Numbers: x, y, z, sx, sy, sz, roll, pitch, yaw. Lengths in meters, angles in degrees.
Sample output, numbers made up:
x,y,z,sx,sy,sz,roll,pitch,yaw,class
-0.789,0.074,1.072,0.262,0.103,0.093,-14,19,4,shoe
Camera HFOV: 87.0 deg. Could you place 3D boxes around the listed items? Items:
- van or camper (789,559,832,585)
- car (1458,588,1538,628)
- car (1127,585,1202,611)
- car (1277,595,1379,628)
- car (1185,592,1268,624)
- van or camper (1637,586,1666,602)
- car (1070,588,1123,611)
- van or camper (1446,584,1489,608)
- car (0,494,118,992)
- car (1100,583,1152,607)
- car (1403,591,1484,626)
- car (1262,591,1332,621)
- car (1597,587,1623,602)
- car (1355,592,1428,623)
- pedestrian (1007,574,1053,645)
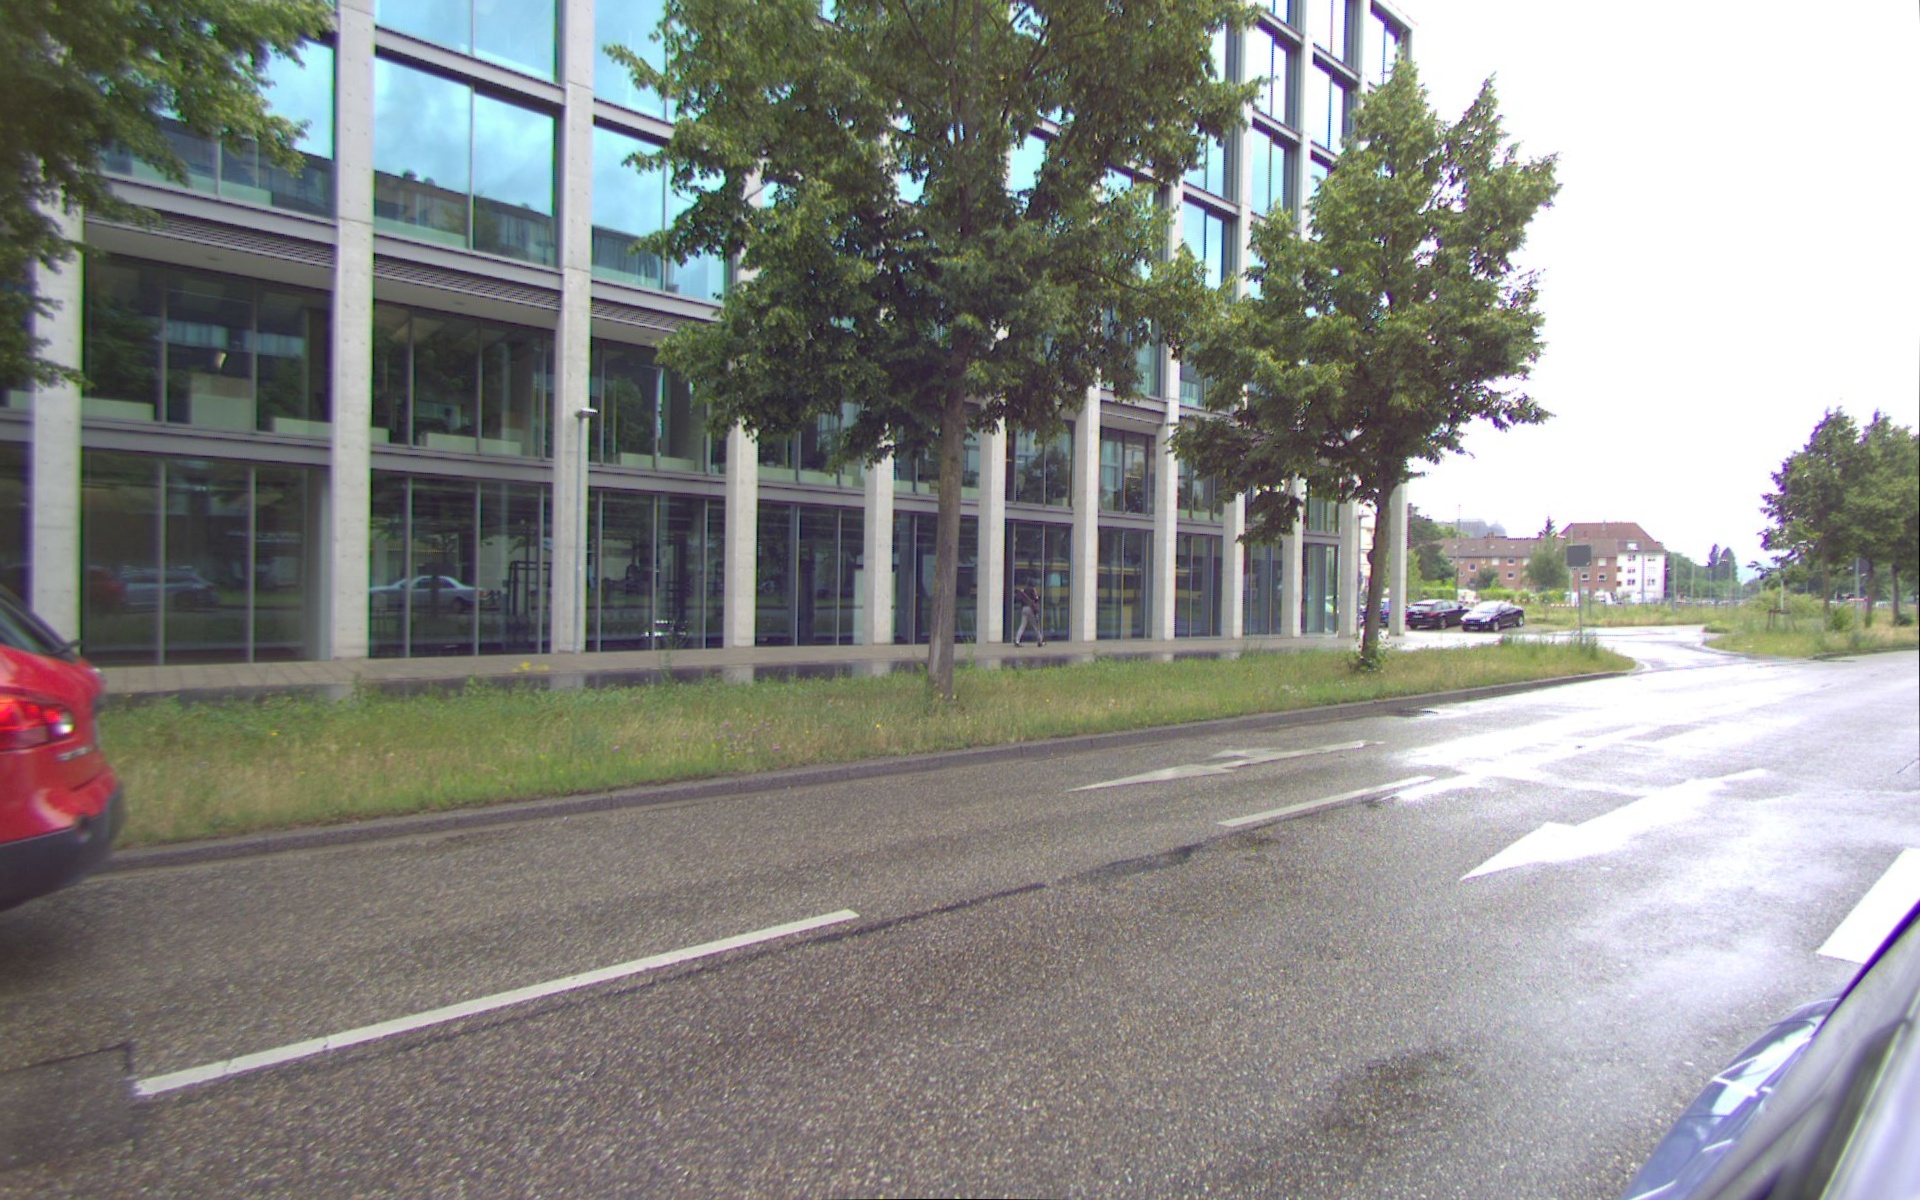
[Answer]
x,y,z,sx,sy,sz,roll,pitch,yaw,class
-15.610,-2.898,105.690,2.054,2.617,5.629,0,0,-36,van or camper
27.070,0.372,50.898,3.925,1.599,1.862,-5,3,-33,car
11.571,-0.130,57.369,1.825,1.390,4.001,2,0,-34,car
17.645,0.532,48.694,1.943,1.456,4.233,3,-1,-34,car
14.070,0.404,53.558,1.826,1.507,3.999,3,-1,-36,car
101.219,-0.854,148.034,6.044,2.337,2.205,0,-1,-43,van or camper
10.421,-0.071,76.941,3.966,1.514,1.857,-5,4,-43,car
58.437,-0.462,116.460,6.288,2.723,2.311,0,1,-43,van or camper
-5.142,0.541,2.869,4.170,1.633,1.798,-2,-1,-39,car
13.285,-0.416,81.130,3.955,1.732,1.703,-4,3,-32,car
25.421,0.418,53.187,4.473,1.472,1.861,-5,4,-35,car
20.106,0.325,60.293,4.151,1.492,1.792,-4,3,-35,car
100.020,-0.804,155.729,4.681,2.248,2.273,0,0,-44,car
23.755,0.386,55.688,3.925,1.472,1.861,-3,2,-35,car
1.770,0.221,25.587,0.846,1.736,0.718,1,2,-41,pedestrian
